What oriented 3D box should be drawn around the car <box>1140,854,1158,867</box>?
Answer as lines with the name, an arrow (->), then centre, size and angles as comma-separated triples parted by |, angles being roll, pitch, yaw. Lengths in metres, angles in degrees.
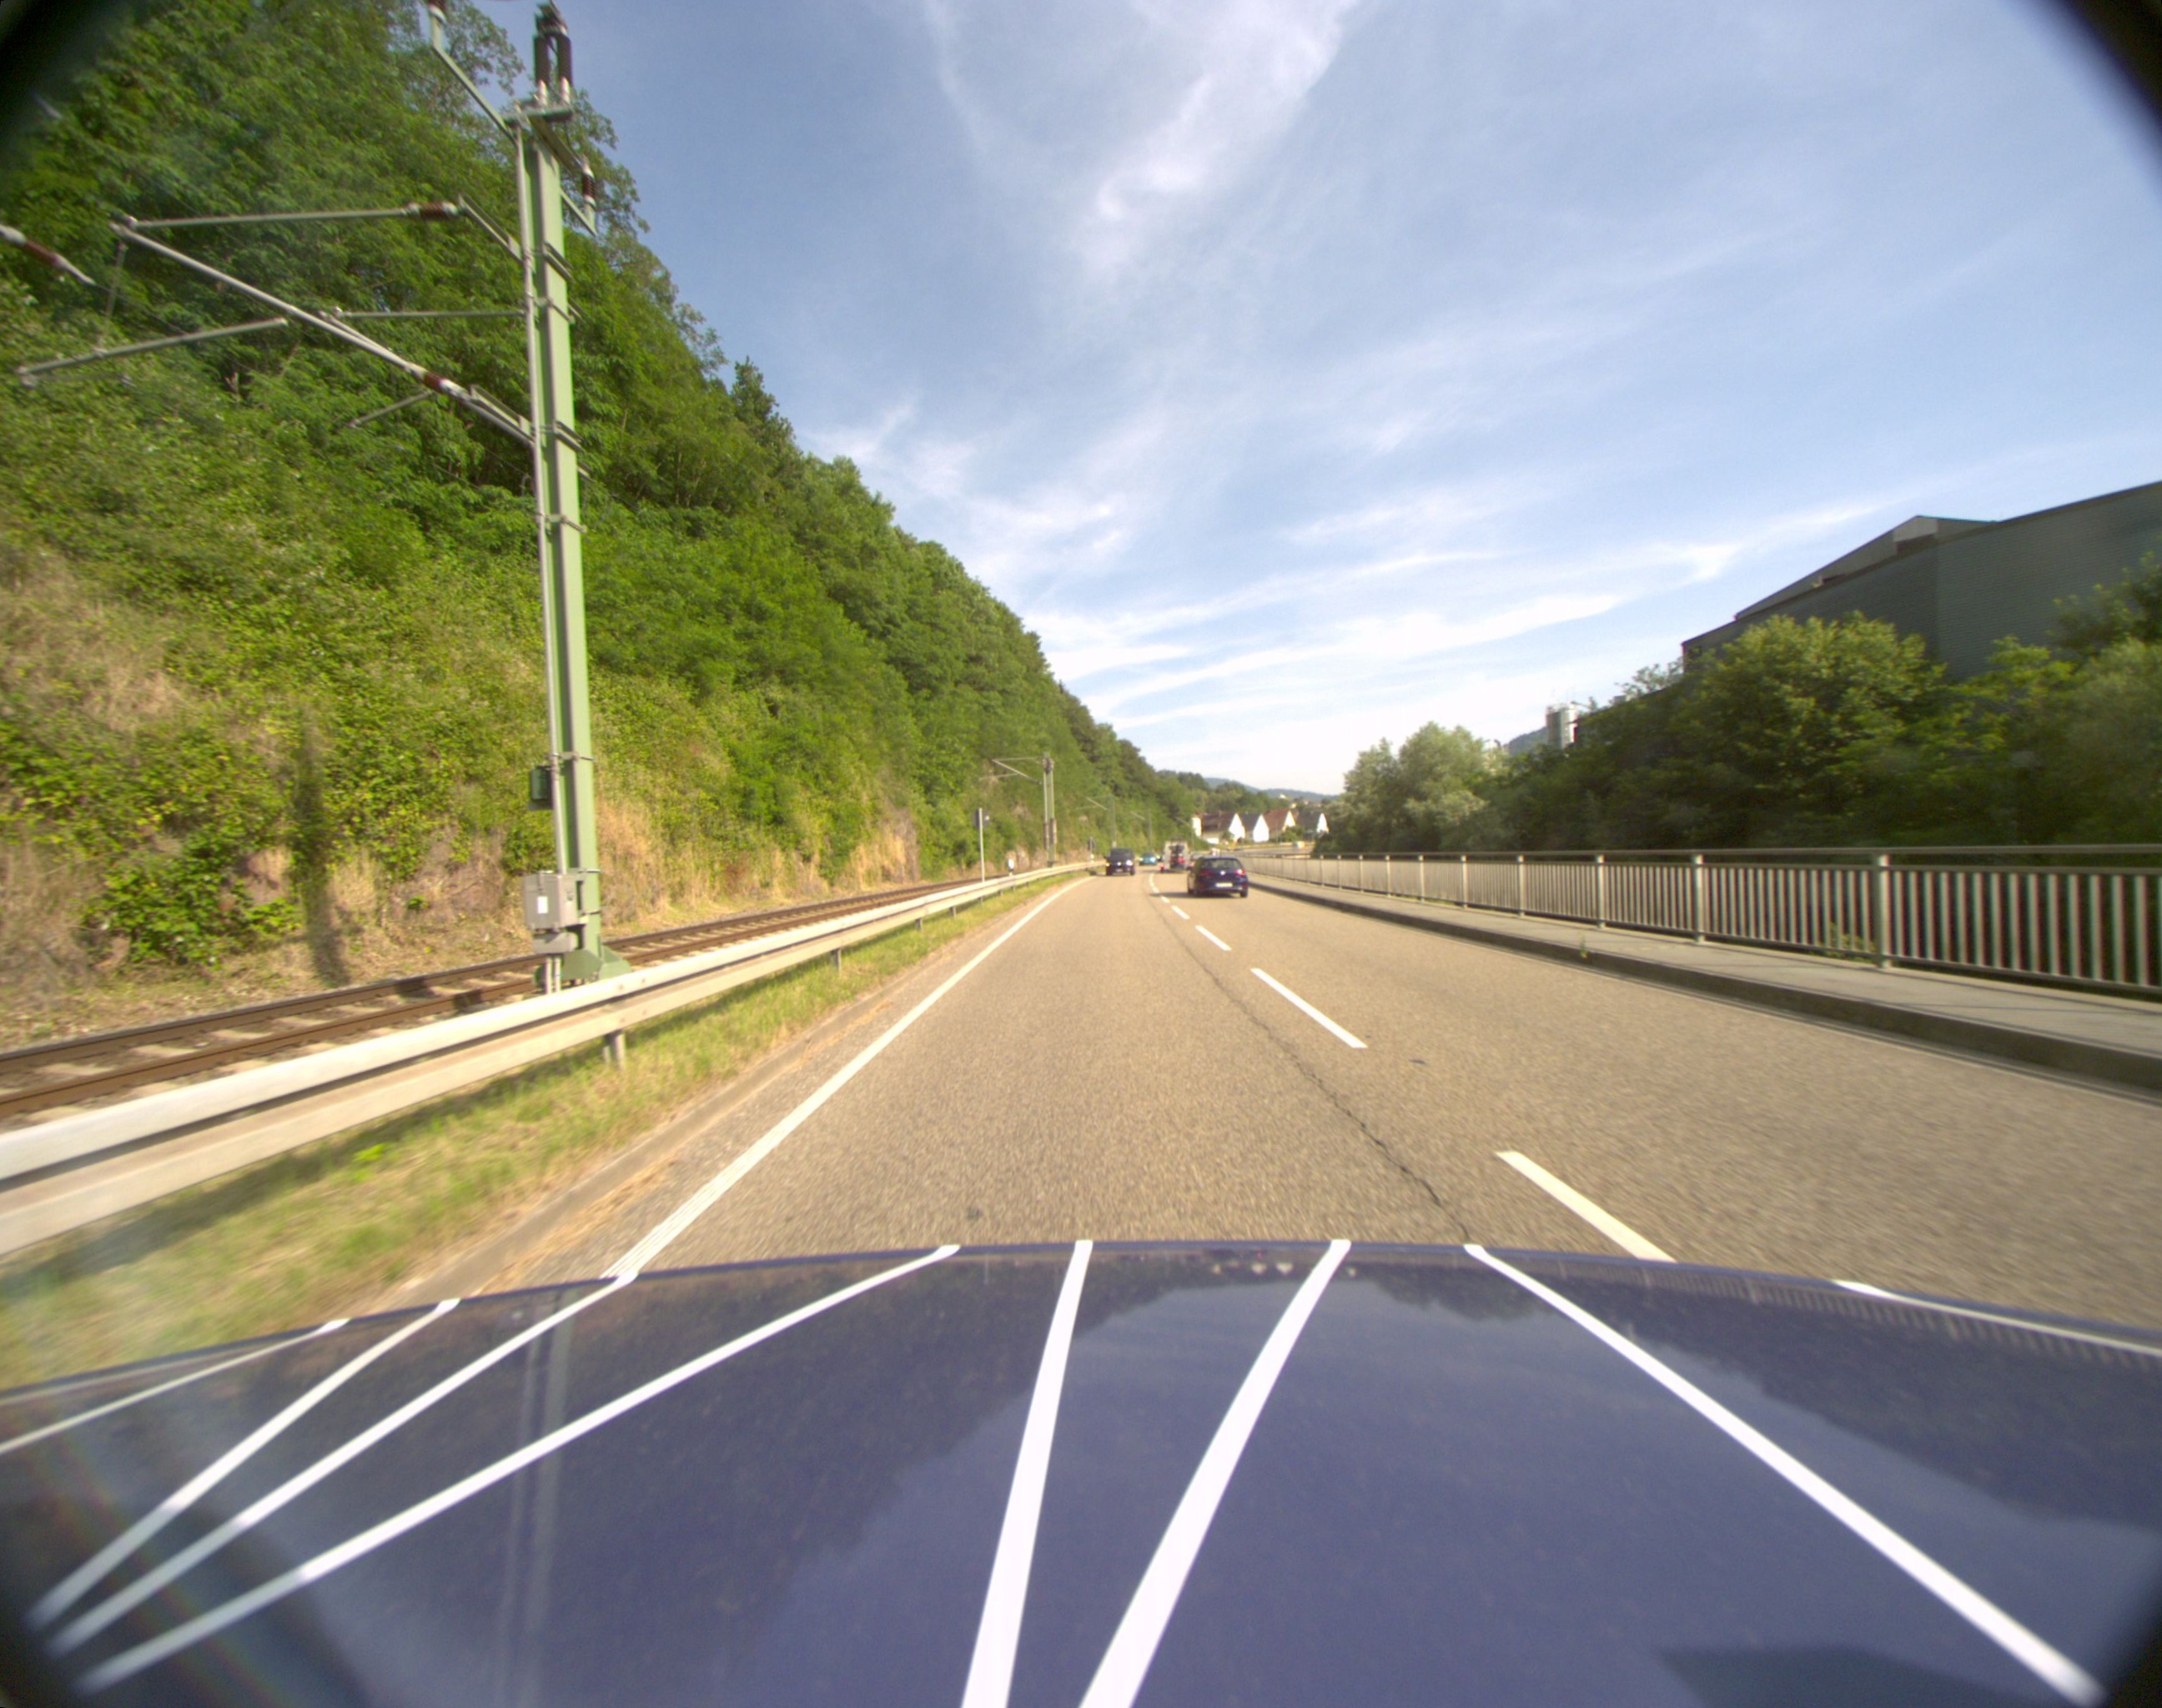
car -> 7.622, 0.697, 84.935 | 1.749, 1.424, 3.334 | 1, 1, 10

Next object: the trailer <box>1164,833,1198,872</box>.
trailer -> 7.352, -0.119, 56.297 | 2.126, 2.700, 5.349 | -1, 1, 4

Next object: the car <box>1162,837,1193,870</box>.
car -> 7.828, -0.077, 62.237 | 2.163, 2.517, 6.579 | -1, 0, 4

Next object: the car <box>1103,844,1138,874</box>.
car -> 2.775, 0.344, 52.451 | 1.908, 1.867, 4.350 | -5, -1, 7

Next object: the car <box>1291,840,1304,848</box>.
car -> 54.179, -2.572, 189.826 | 1.994, 1.849, 4.007 | -1, 1, 32

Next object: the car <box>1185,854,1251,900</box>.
car -> 4.744, 0.745, 26.760 | 1.707, 1.423, 4.074 | -1, 1, 2

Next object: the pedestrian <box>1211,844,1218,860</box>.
pedestrian -> 15.097, -0.263, 85.708 | 0.719, 1.808, 0.877 | -1, 1, 9

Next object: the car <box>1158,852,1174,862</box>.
car -> 11.814, 0.405, 105.446 | 1.650, 1.424, 3.335 | 1, 1, 15

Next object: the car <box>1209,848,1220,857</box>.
car -> 23.118, -0.218, 131.225 | 1.724, 1.575, 3.503 | 1, 1, 11

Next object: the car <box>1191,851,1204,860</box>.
car -> 16.697, 0.167, 109.143 | 1.587, 1.302, 3.504 | 1, 1, 12
